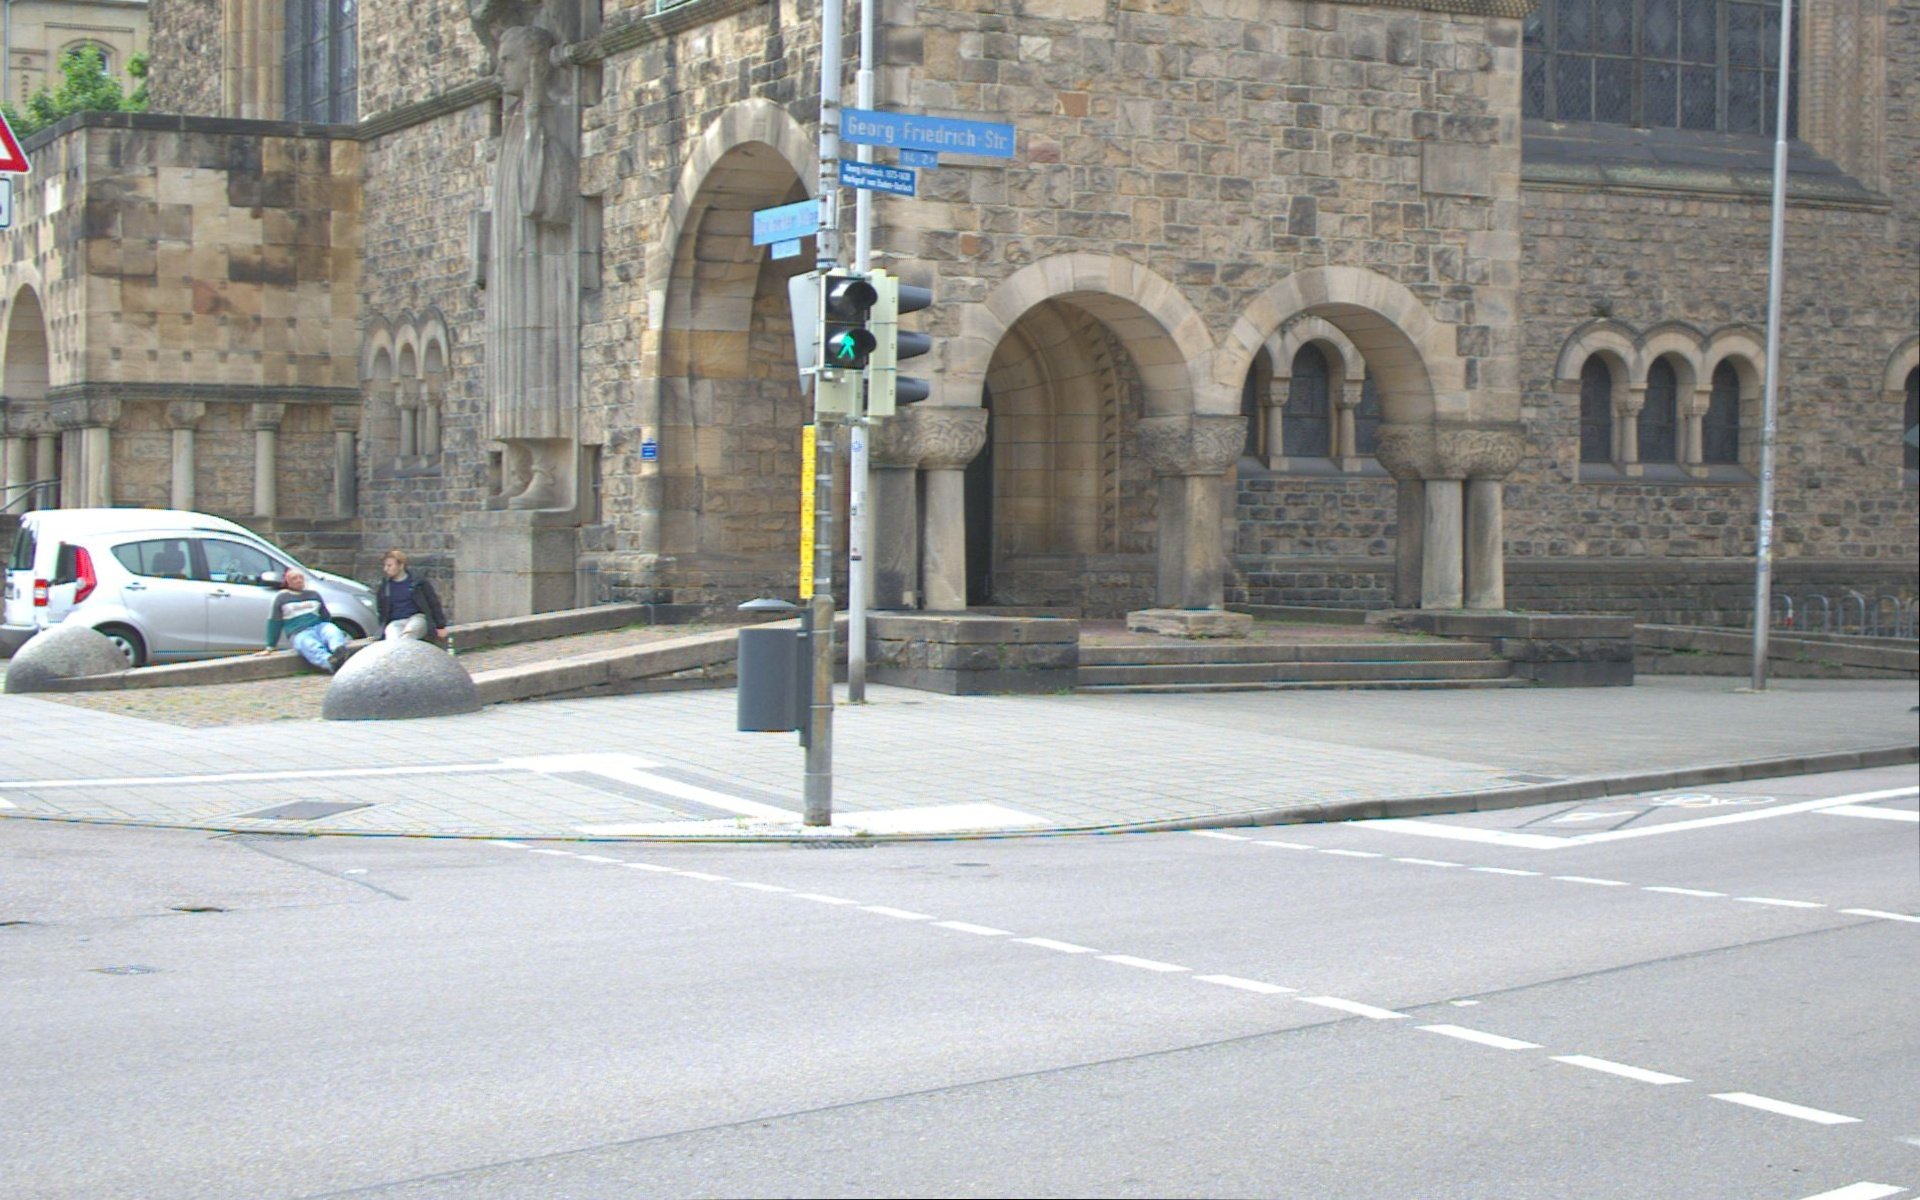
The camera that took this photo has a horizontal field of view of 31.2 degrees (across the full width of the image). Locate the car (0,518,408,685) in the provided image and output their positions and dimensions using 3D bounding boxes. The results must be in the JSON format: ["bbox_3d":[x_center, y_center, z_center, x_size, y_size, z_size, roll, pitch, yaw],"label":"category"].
[{"bbox_3d":[-8.240,0.022,36.531,4.347,1.630,1.663,2,0,-27],"label":"car"}]

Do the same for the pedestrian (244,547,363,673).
[{"bbox_3d":[-6.443,0.086,33.684,0.736,1.187,1.493,2,0,-26],"label":"pedestrian"}]

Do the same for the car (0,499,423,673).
[{"bbox_3d":[-8.769,-0.148,40.114,4.609,1.875,1.663,2,0,-27],"label":"car"}]

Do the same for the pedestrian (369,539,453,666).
[{"bbox_3d":[-5.471,0.019,34.232,0.736,1.224,1.063,2,0,-12],"label":"pedestrian"}]
